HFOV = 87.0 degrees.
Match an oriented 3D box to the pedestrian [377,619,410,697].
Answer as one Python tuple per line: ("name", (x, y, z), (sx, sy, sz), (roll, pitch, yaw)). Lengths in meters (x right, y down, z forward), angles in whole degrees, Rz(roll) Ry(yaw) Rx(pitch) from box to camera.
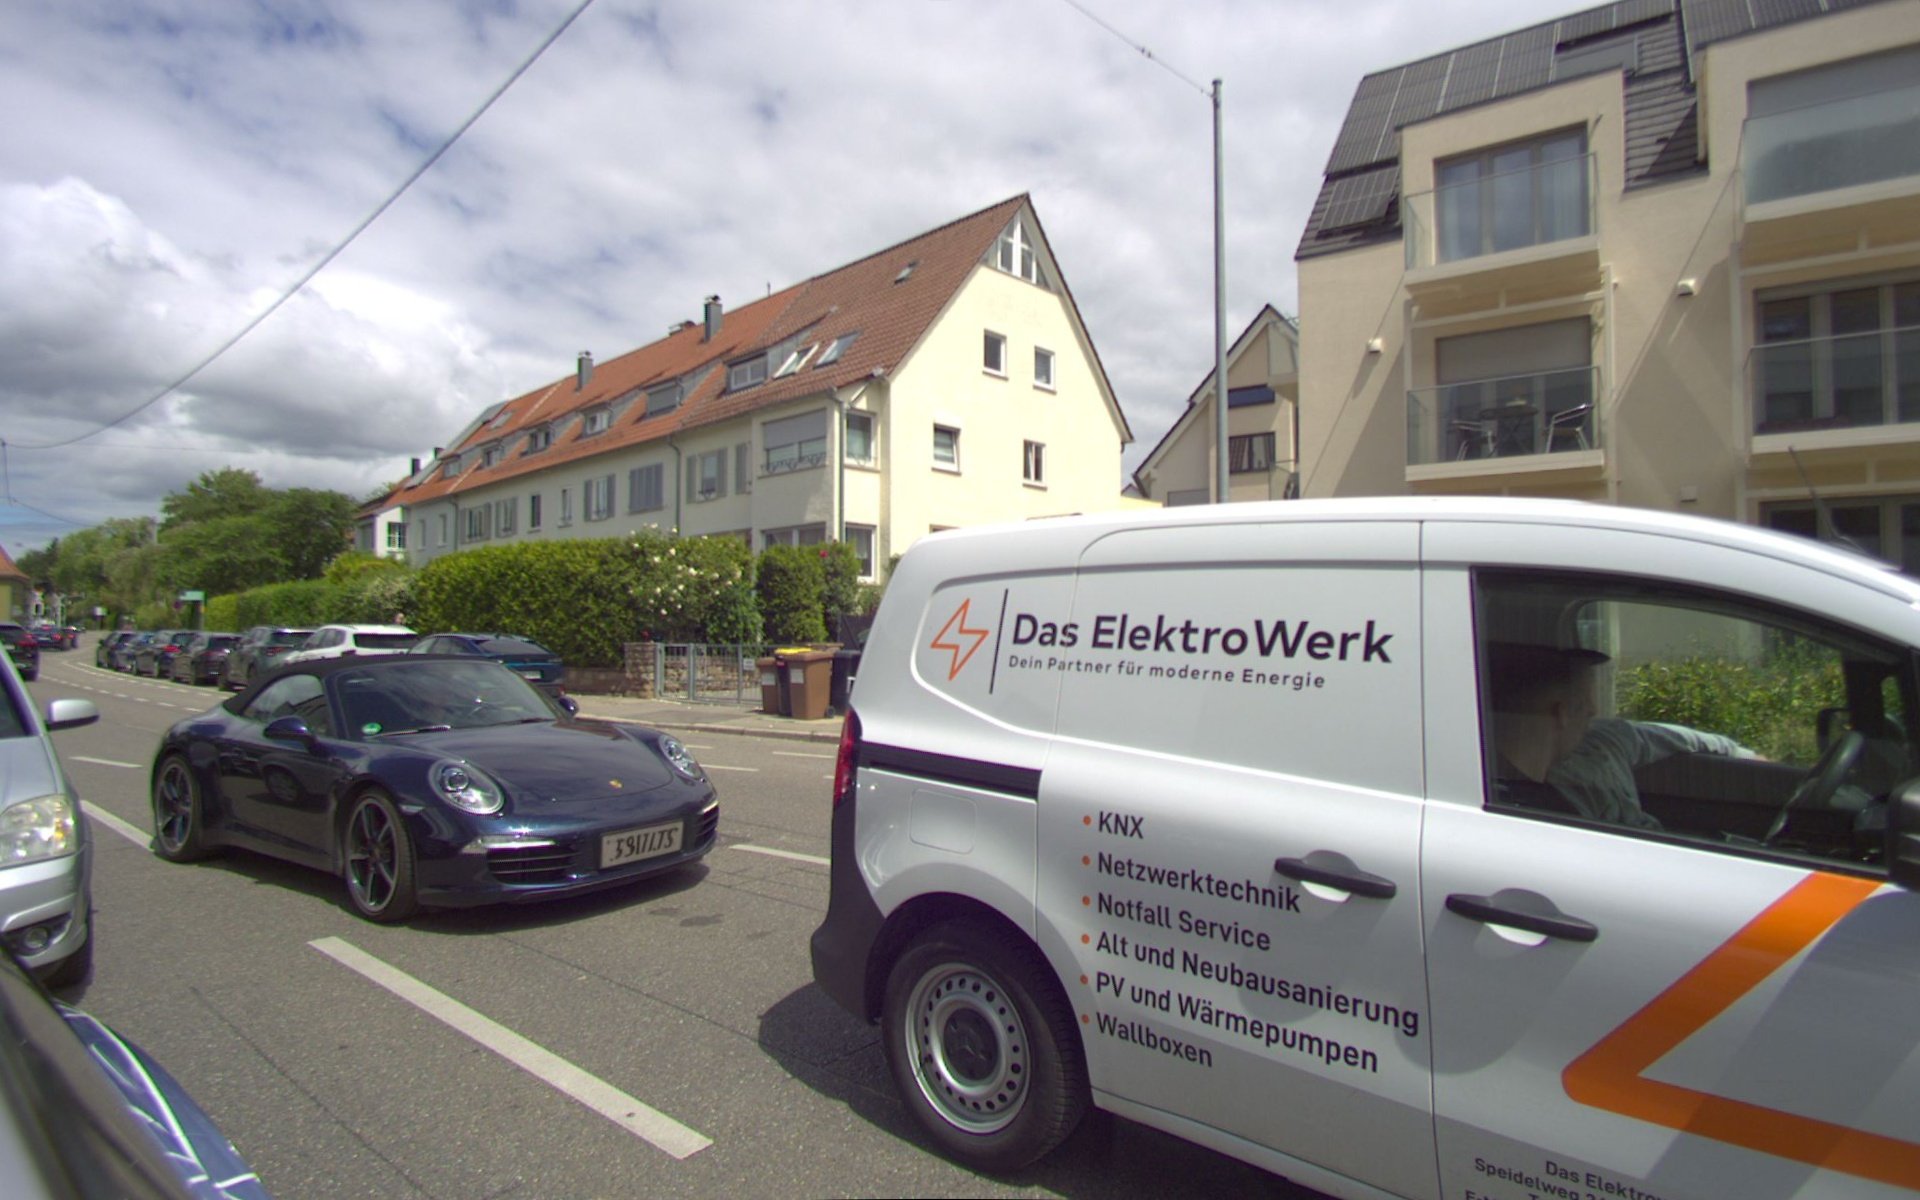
("pedestrian", (-13.485, 1.377, 24.096), (0.511, 1.829, 0.526), (-1, -2, 36))

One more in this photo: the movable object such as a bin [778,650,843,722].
("movable object such as a bin", (-2.348, 1.336, 15.909), (0.752, 1.073, 0.693), (1, -2, -42))

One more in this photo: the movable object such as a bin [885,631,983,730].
("movable object such as a bin", (-0.387, 1.151, 14.948), (0.980, 1.373, 1.078), (-2, -2, 40))

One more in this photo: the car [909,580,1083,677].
("car", (0.905, 0.626, 23.339), (1.999, 2.029, 3.946), (-1, -2, 40))

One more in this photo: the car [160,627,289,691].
("car", (-20.644, 1.597, 28.355), (4.234, 1.645, 1.973), (-1, -3, 41))

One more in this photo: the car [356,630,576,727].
("car", (-8.899, 1.302, 18.084), (4.447, 1.513, 1.796), (-1, -2, 38))

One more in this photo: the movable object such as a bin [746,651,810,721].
("movable object such as a bin", (-2.933, 1.366, 16.303), (0.752, 1.073, 0.693), (1, -2, -42))

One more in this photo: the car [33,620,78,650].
("car", (-60.693, 2.337, 67.946), (1.968, 1.929, 4.077), (1, -2, -39))

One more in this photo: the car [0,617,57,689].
("car", (-26.826, 1.444, 28.305), (4.069, 1.929, 1.972), (-2, -2, 43))

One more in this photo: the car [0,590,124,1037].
("car", (-5.274, 0.790, 4.503), (3.999, 1.587, 1.751), (-2, -2, 41))

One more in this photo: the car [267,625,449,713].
("car", (-12.717, 1.359, 21.270), (4.450, 1.645, 1.973), (-1, -2, 41))

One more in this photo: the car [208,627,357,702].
("car", (-16.558, 1.492, 24.670), (4.234, 1.645, 1.973), (-1, -2, 41))

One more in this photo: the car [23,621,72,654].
("car", (-56.113, 2.282, 62.291), (1.968, 1.929, 4.077), (1, -2, -39))

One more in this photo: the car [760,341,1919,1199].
("car", (1.642, 0.547, 2.474), (4.414, 1.825, 1.798), (-1, -2, 39))

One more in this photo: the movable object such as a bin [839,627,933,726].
("movable object such as a bin", (-1.141, 1.153, 15.717), (0.980, 1.457, 1.078), (-2, -2, 40))

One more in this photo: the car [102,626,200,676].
("car", (-28.714, 1.763, 35.881), (4.234, 1.645, 1.973), (-1, -2, 41))

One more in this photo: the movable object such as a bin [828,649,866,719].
("movable object such as a bin", (-1.814, 1.346, 16.329), (0.516, 1.073, 0.656), (0, -1, 2))

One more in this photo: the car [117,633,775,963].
("car", (-3.229, 0.899, 6.156), (4.032, 1.374, 1.796), (-1, -2, 33))

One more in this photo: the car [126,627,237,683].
("car", (-24.846, 1.697, 32.248), (4.234, 1.645, 1.973), (-1, -2, 41))
